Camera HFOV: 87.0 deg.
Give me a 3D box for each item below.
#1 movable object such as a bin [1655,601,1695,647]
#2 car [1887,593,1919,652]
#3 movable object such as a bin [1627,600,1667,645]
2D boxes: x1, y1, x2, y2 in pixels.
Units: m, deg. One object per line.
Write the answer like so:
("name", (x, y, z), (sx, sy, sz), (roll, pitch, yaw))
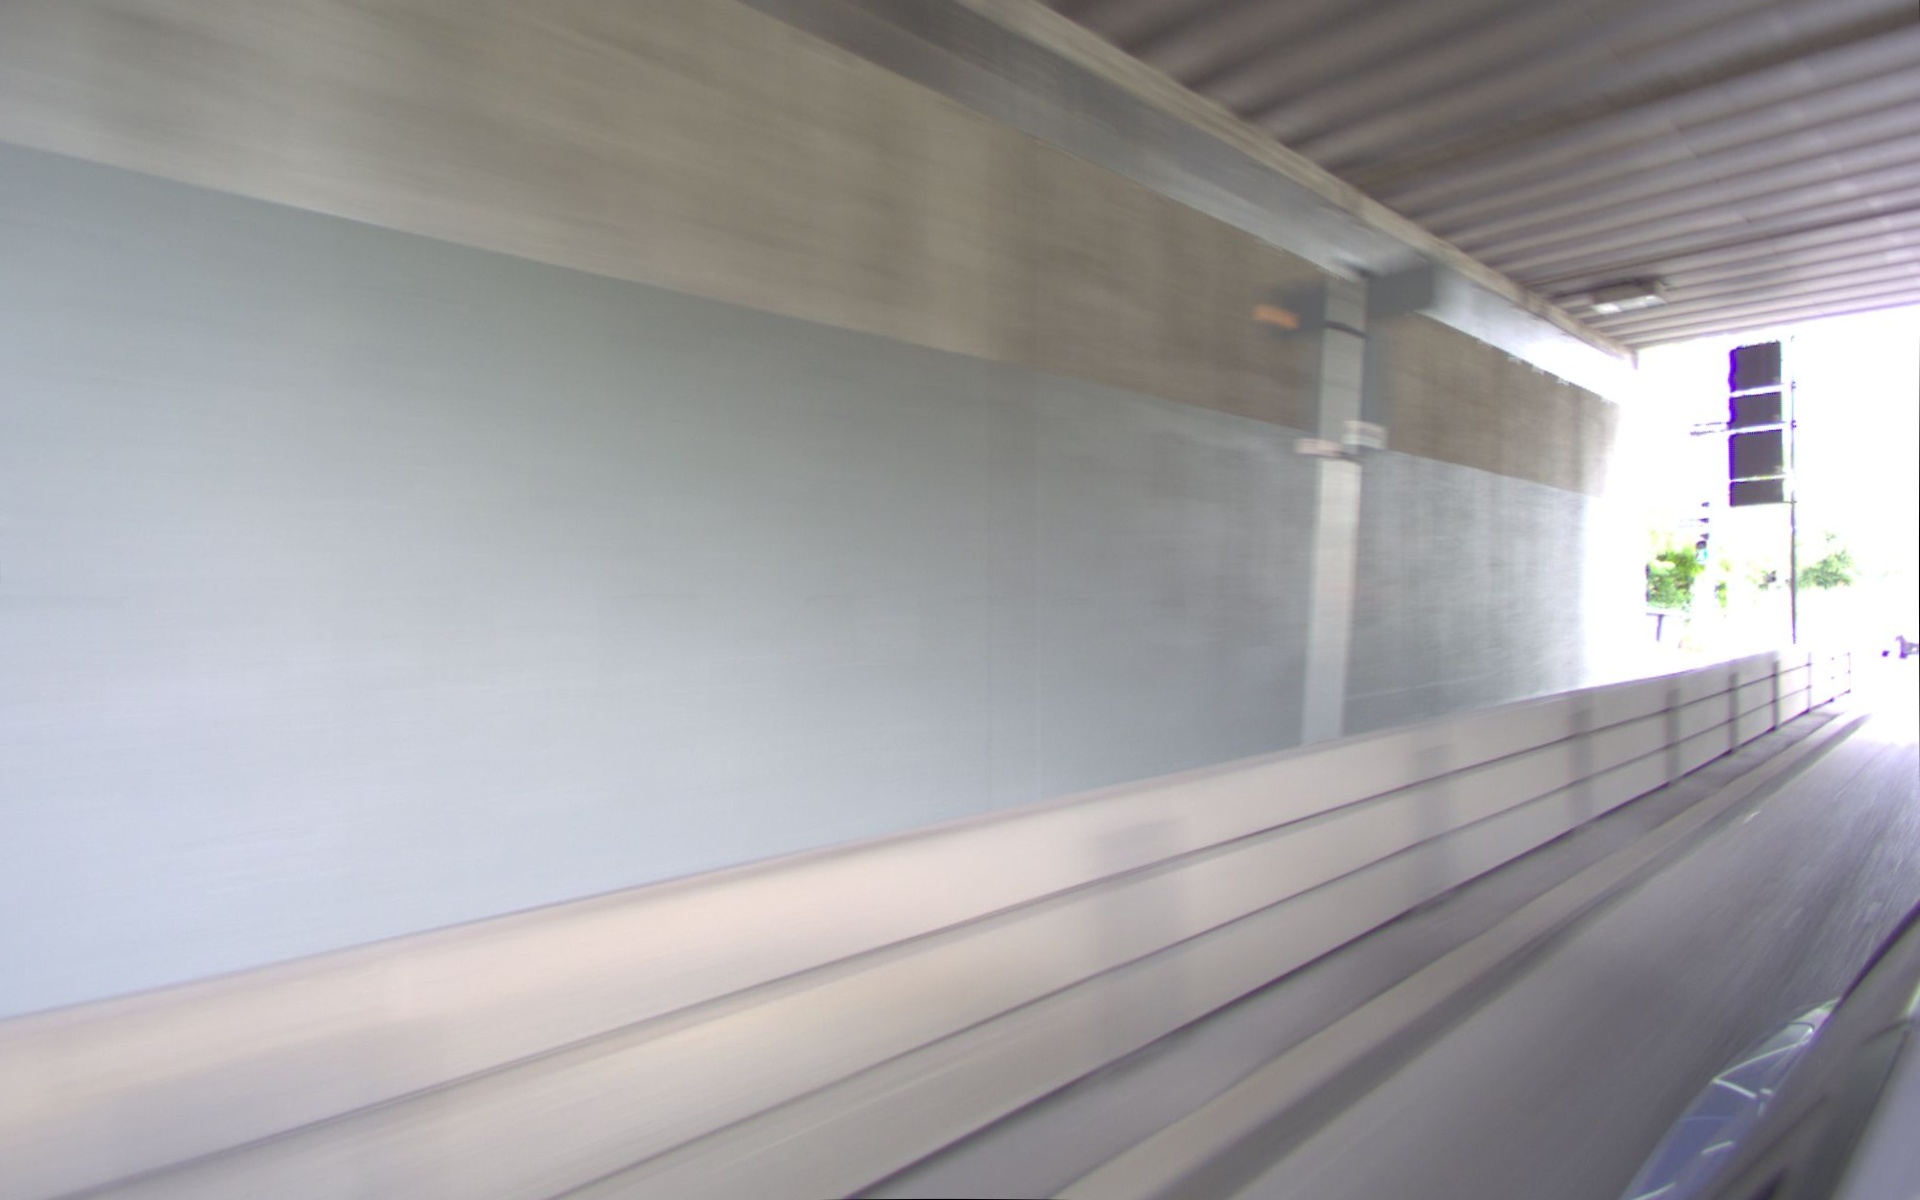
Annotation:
("movable object such as a bin", (18.078, 0.599, 25.599), (0.564, 1.129, 0.644), (0, -1, 0))
("car", (27.141, 0.614, 27.886), (1.811, 1.564, 3.679), (-1, -2, 34))
("movable object such as a bin", (17.364, 0.561, 25.589), (0.564, 1.129, 0.644), (0, -1, 0))
